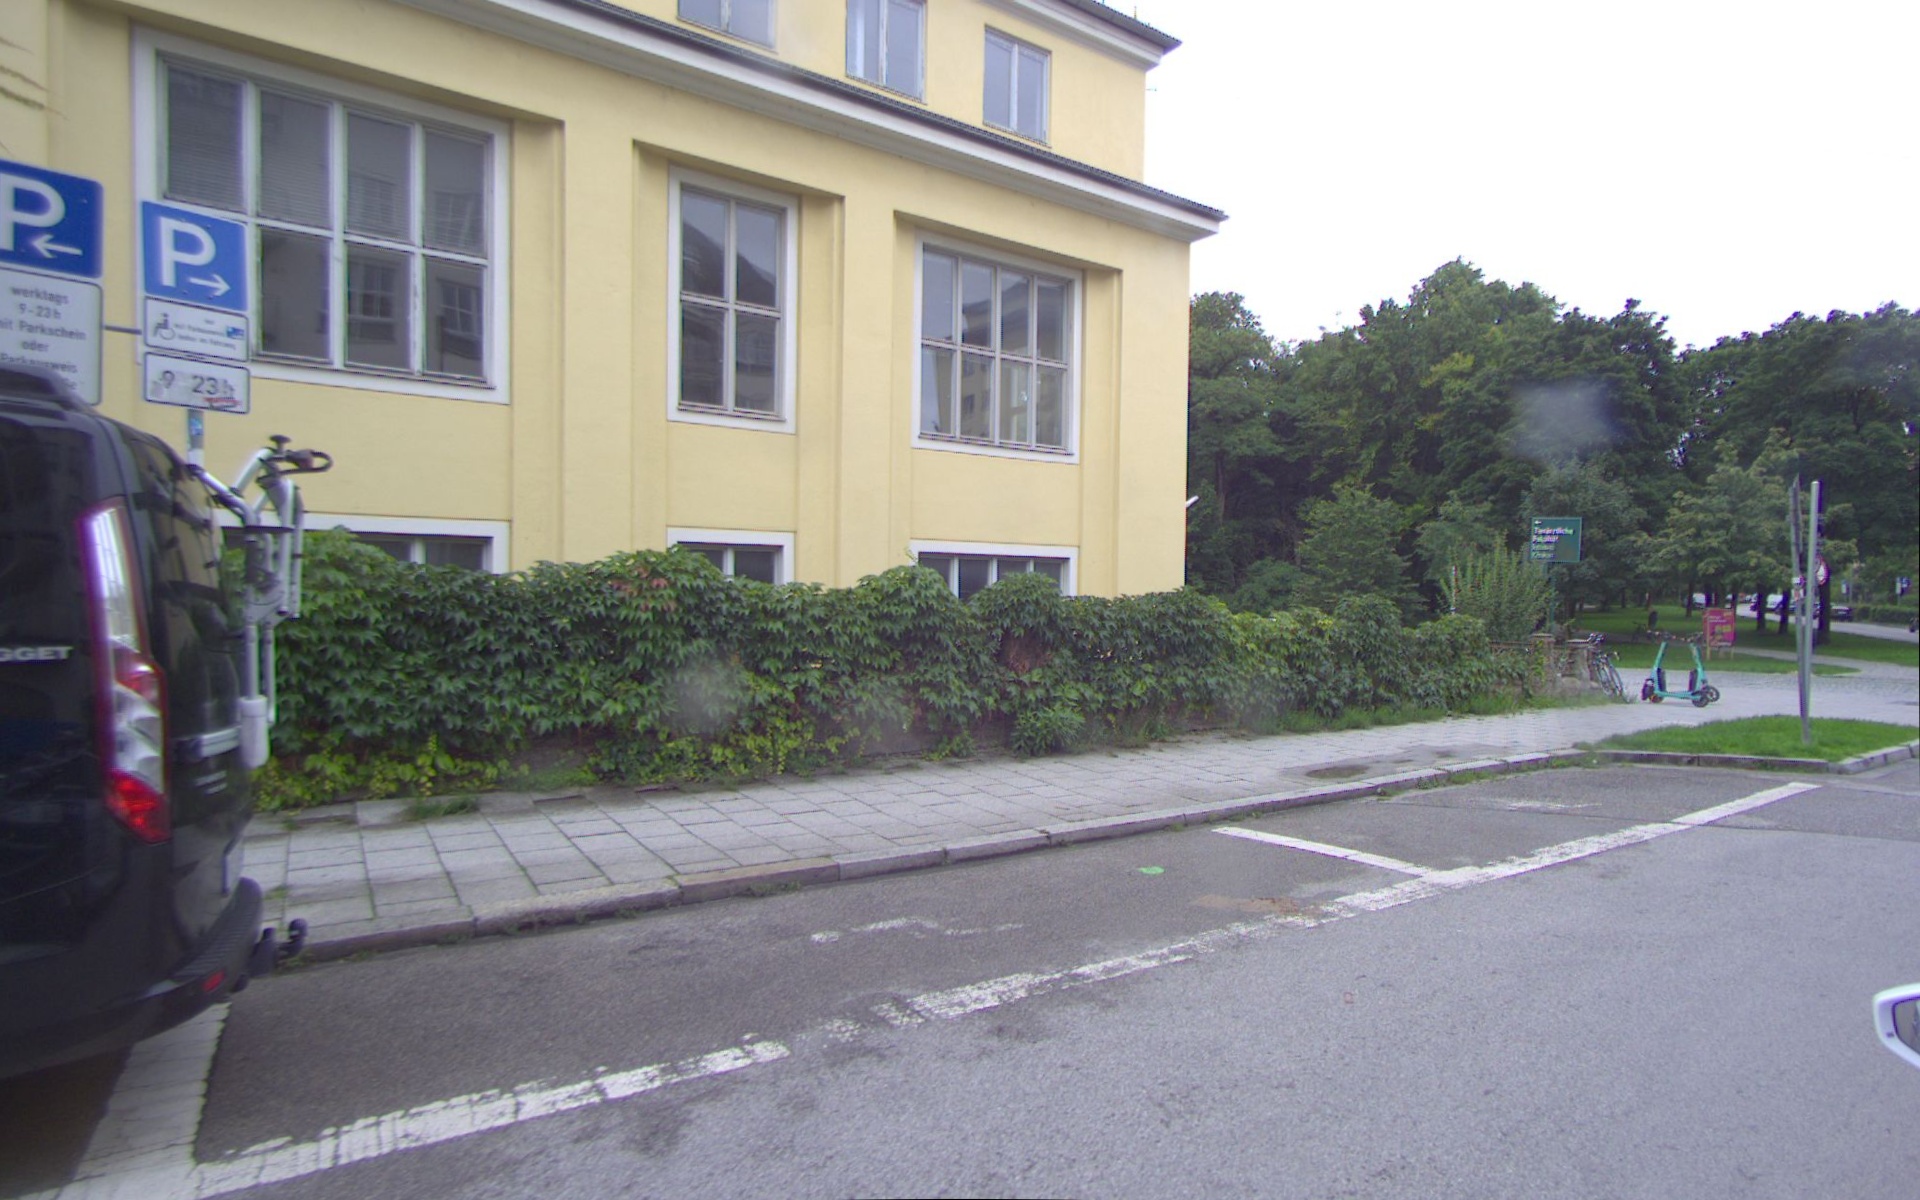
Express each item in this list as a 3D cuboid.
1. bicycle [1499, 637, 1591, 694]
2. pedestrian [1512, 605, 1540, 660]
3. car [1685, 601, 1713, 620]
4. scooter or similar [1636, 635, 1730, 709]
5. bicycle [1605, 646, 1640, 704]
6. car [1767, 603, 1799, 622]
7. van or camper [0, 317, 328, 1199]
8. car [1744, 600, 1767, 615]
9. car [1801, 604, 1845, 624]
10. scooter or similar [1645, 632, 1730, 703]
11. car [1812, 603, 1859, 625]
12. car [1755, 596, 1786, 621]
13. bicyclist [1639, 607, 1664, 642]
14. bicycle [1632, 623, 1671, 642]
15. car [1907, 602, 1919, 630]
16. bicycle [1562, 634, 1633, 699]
[{"bbox_3d":[12.290,1.377,21.163,0.642,1.149,1.734,1,-3,-12],"label":"bicycle"},{"bbox_3d":[18.855,1.070,33.449,0.720,1.776,0.657,1,1,36],"label":"pedestrian"},{"bbox_3d":[76.726,1.040,104.331,1.965,1.862,3.990,2,1,32],"label":"car"},{"bbox_3d":[12.452,1.216,17.326,0.595,1.236,1.172,1,-2,-30],"label":"scooter or similar"},{"bbox_3d":[11.660,1.304,17.691,0.463,0.935,1.202,1,1,32],"label":"bicycle"},{"bbox_3d":[82.172,1.200,100.361,1.849,1.840,3.991,2,1,31],"label":"car"},{"bbox_3d":[-4.172,0.411,2.168,4.700,2.092,1.950,1,-2,-32],"label":"van or camper"},{"bbox_3d":[93.434,0.919,117.974,1.621,1.674,4.273,1,0,32],"label":"car"},{"bbox_3d":[75.176,1.182,87.582,2.145,1.679,4.496,2,1,31],"label":"car"},{"bbox_3d":[12.984,1.193,17.937,1.158,1.236,0.447,0,-1,4],"label":"scooter or similar"},{"bbox_3d":[71.850,1.129,82.489,2.145,1.679,4.496,2,1,31],"label":"car"},{"bbox_3d":[87.358,0.901,108.316,1.849,2.602,4.920,2,1,31],"label":"car"},{"bbox_3d":[30.179,1.077,43.823,0.636,1.480,0.627,1,1,-21],"label":"bicyclist"},{"bbox_3d":[30.153,1.421,43.814,0.434,0.786,1.354,1,1,-21],"label":"bicycle"},{"bbox_3d":[58.820,0.977,60.563,1.838,1.655,4.270,2,1,34],"label":"car"},{"bbox_3d":[12.304,1.259,19.421,0.641,1.149,1.502,1,1,11],"label":"bicycle"}]
